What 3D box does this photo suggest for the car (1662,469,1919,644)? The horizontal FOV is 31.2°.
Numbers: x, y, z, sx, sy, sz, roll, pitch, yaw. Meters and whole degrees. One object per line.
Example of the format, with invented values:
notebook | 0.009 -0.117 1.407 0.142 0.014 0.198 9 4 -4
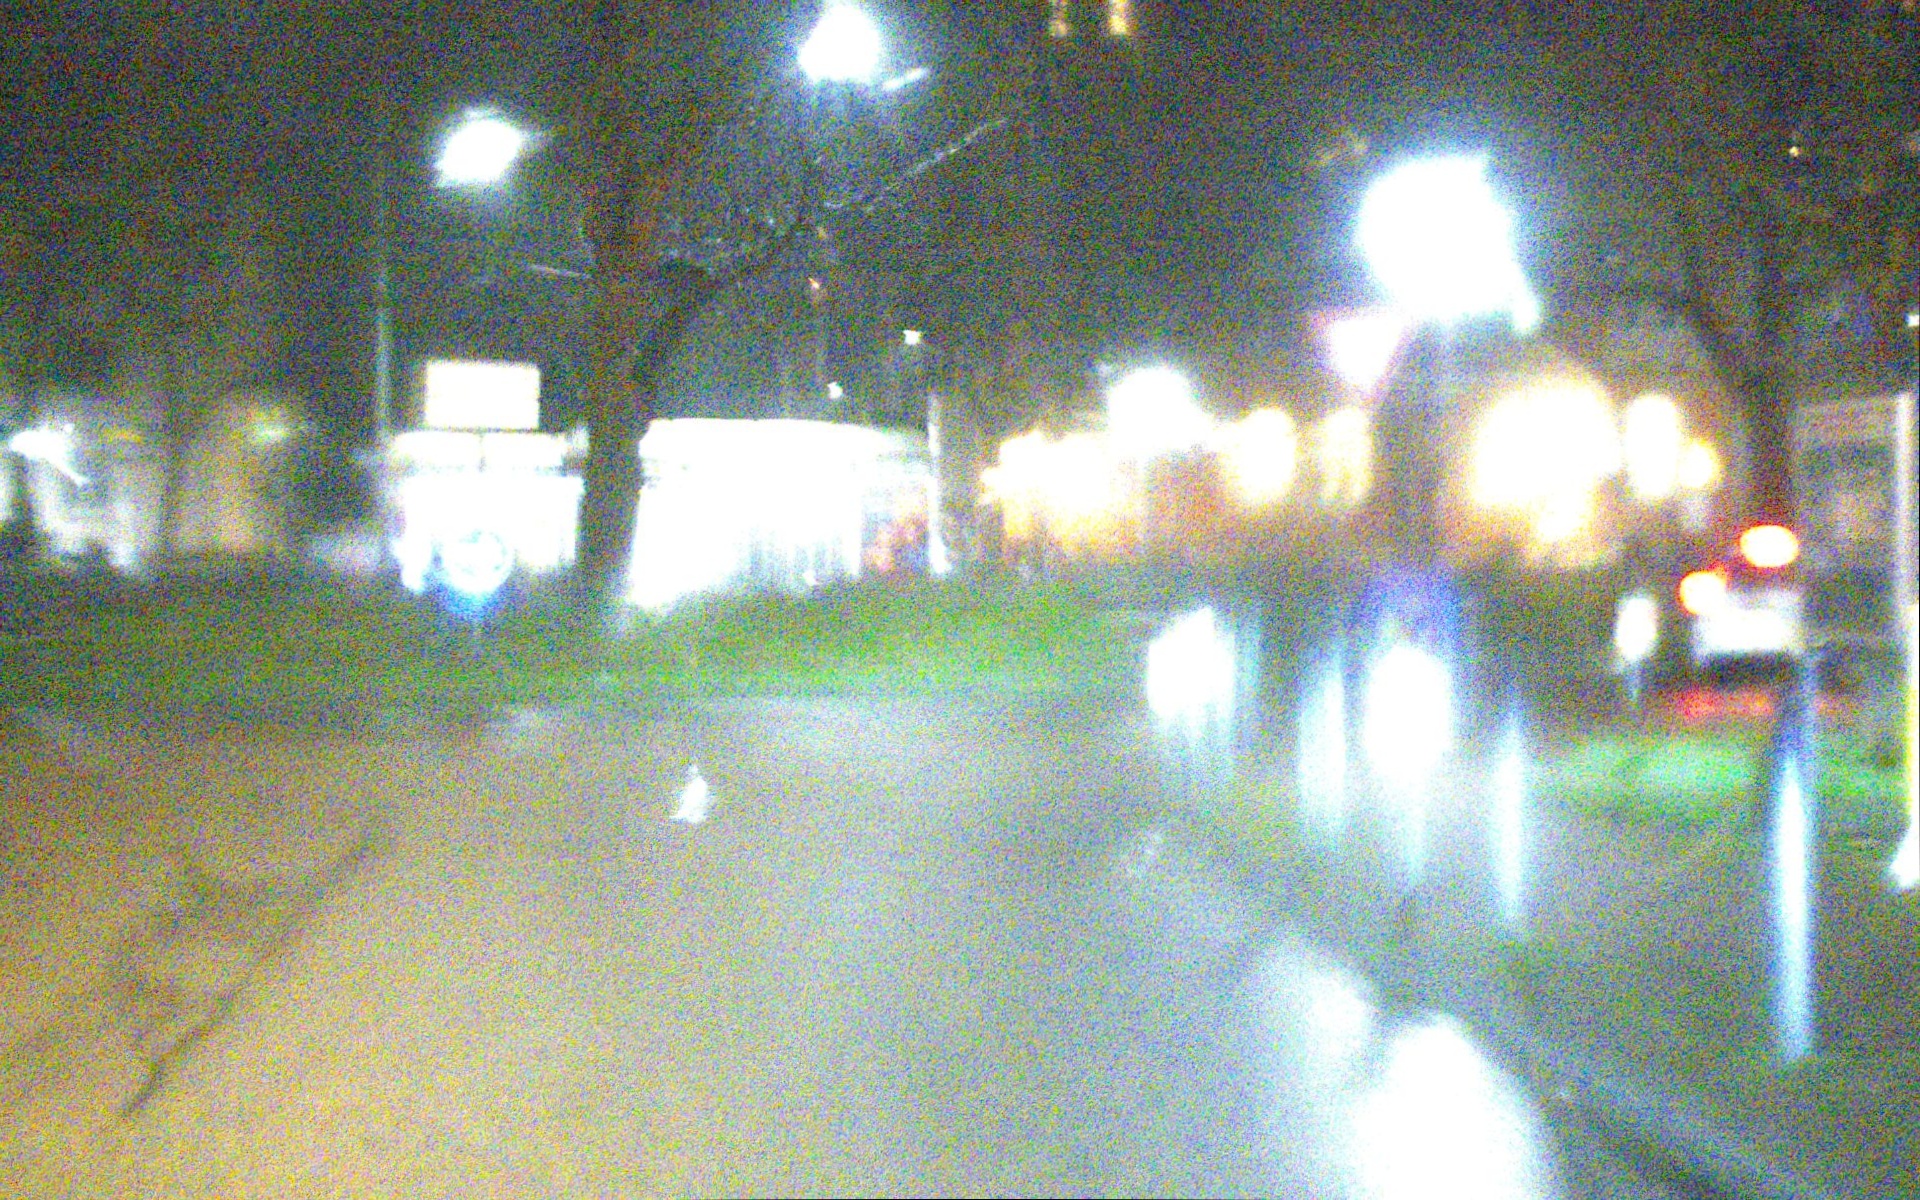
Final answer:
car | 8.779 -0.405 33.711 3.450 1.608 1.736 1 1 -34
